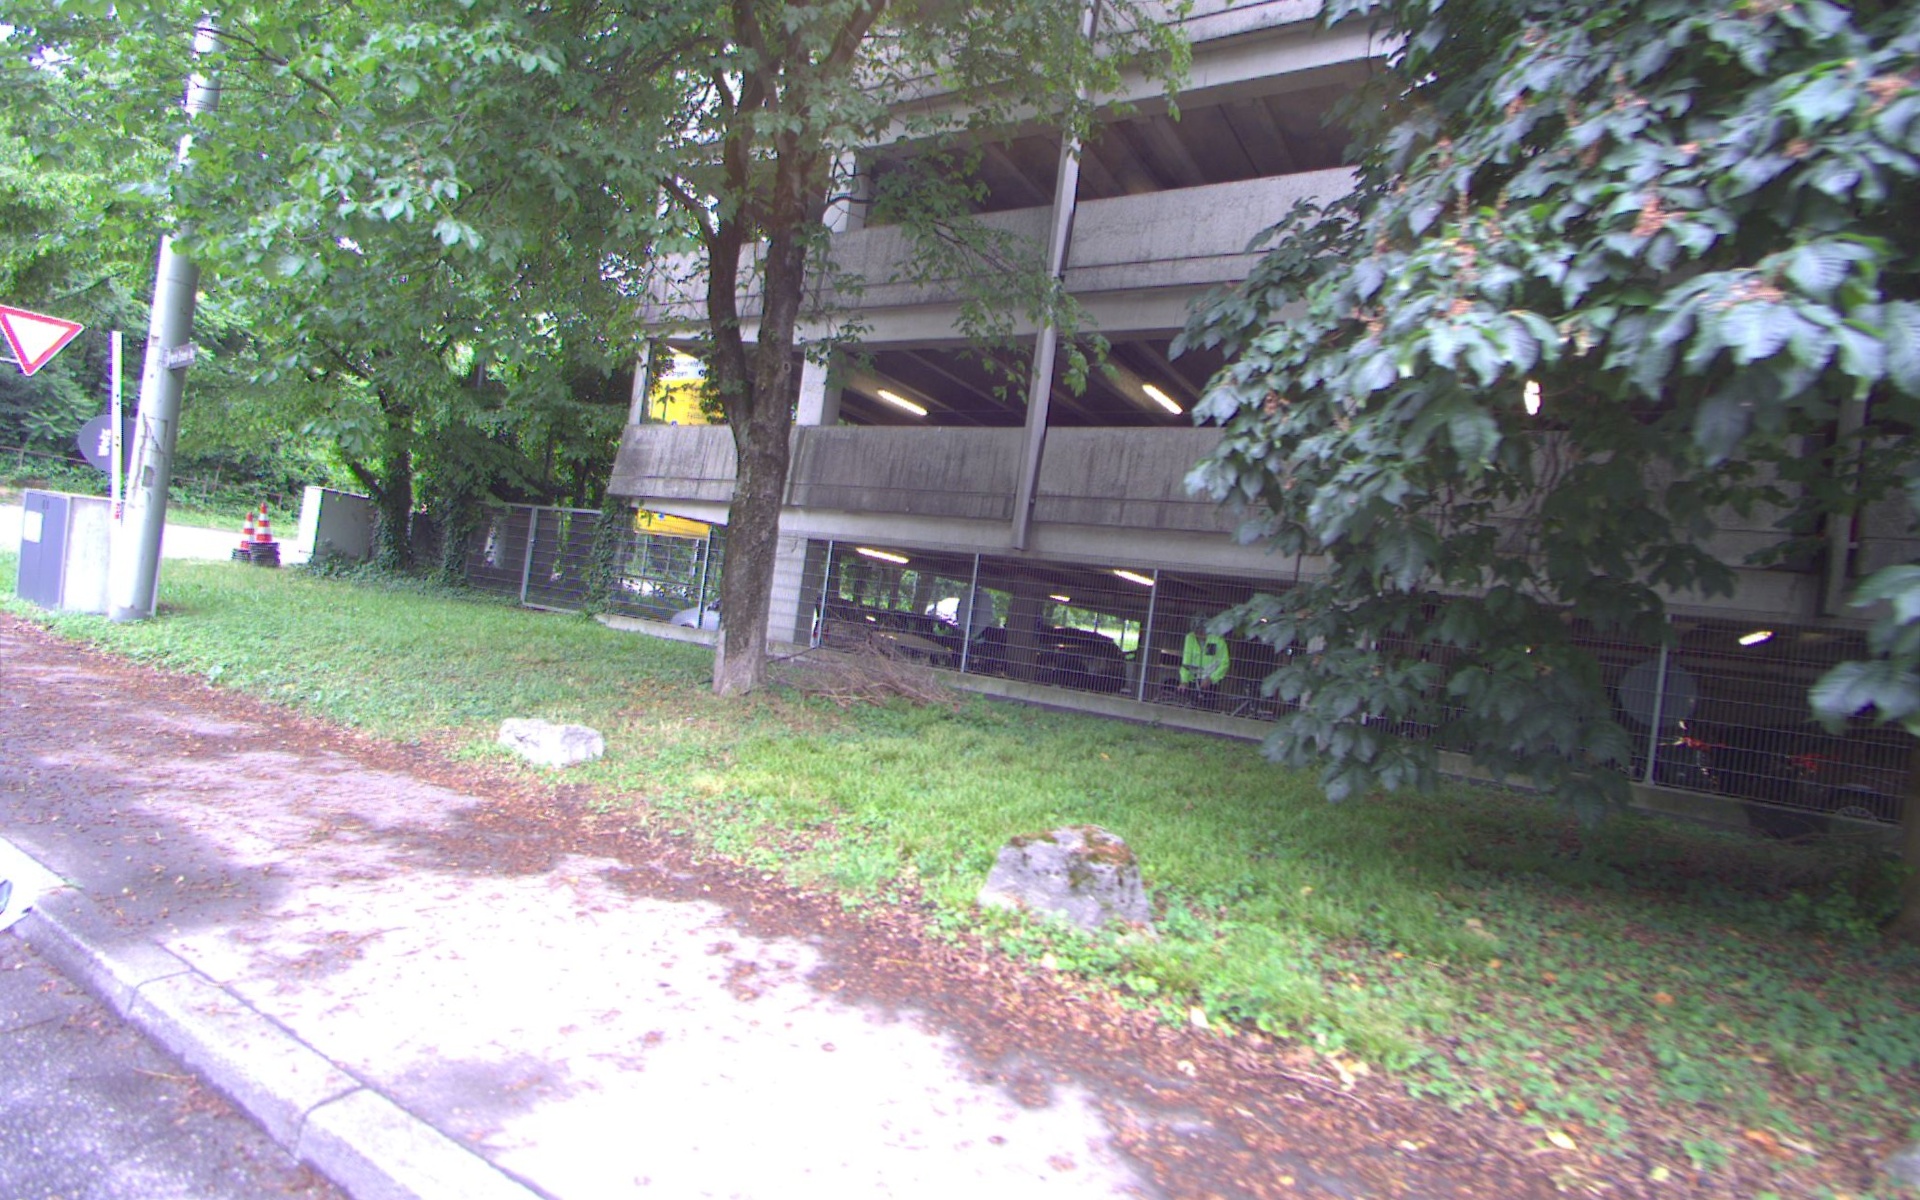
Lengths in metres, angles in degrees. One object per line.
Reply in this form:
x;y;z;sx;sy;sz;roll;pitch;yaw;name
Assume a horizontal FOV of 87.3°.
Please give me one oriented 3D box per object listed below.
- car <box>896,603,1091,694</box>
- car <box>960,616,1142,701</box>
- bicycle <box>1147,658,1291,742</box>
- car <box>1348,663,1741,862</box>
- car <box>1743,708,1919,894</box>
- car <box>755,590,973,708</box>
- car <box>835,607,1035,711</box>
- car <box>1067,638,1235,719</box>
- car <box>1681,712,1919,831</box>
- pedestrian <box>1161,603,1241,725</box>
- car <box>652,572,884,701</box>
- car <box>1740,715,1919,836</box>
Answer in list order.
0.758;1.111;23.318;3.934;1.569;1.998;5;-3;32;car
2.273;1.462;25.256;3.934;1.569;1.998;5;-3;32;car
2.950;1.132;11.481;1.469;0.744;0.448;6;-2;24;bicycle
8.450;2.265;14.939;4.597;2.036;1.998;5;-3;31;car
12.498;2.647;12.571;3.935;2.036;1.997;5;-3;33;car
-1.833;0.909;18.925;3.707;1.727;1.584;5;-3;32;car
-0.540;1.216;20.982;3.658;1.682;1.734;5;-3;32;car
5.970;2.449;31.656;4.658;1.855;1.923;7;-2;33;car
16.030;3.194;18.989;3.639;1.625;1.721;5;-3;30;car
2.839;0.762;11.827;0.626;1.332;0.642;6;-2;31;pedestrian
-3.279;0.594;16.999;3.658;1.727;1.484;5;-3;32;car
15.479;2.991;16.718;3.639;1.625;1.721;5;-3;30;car
